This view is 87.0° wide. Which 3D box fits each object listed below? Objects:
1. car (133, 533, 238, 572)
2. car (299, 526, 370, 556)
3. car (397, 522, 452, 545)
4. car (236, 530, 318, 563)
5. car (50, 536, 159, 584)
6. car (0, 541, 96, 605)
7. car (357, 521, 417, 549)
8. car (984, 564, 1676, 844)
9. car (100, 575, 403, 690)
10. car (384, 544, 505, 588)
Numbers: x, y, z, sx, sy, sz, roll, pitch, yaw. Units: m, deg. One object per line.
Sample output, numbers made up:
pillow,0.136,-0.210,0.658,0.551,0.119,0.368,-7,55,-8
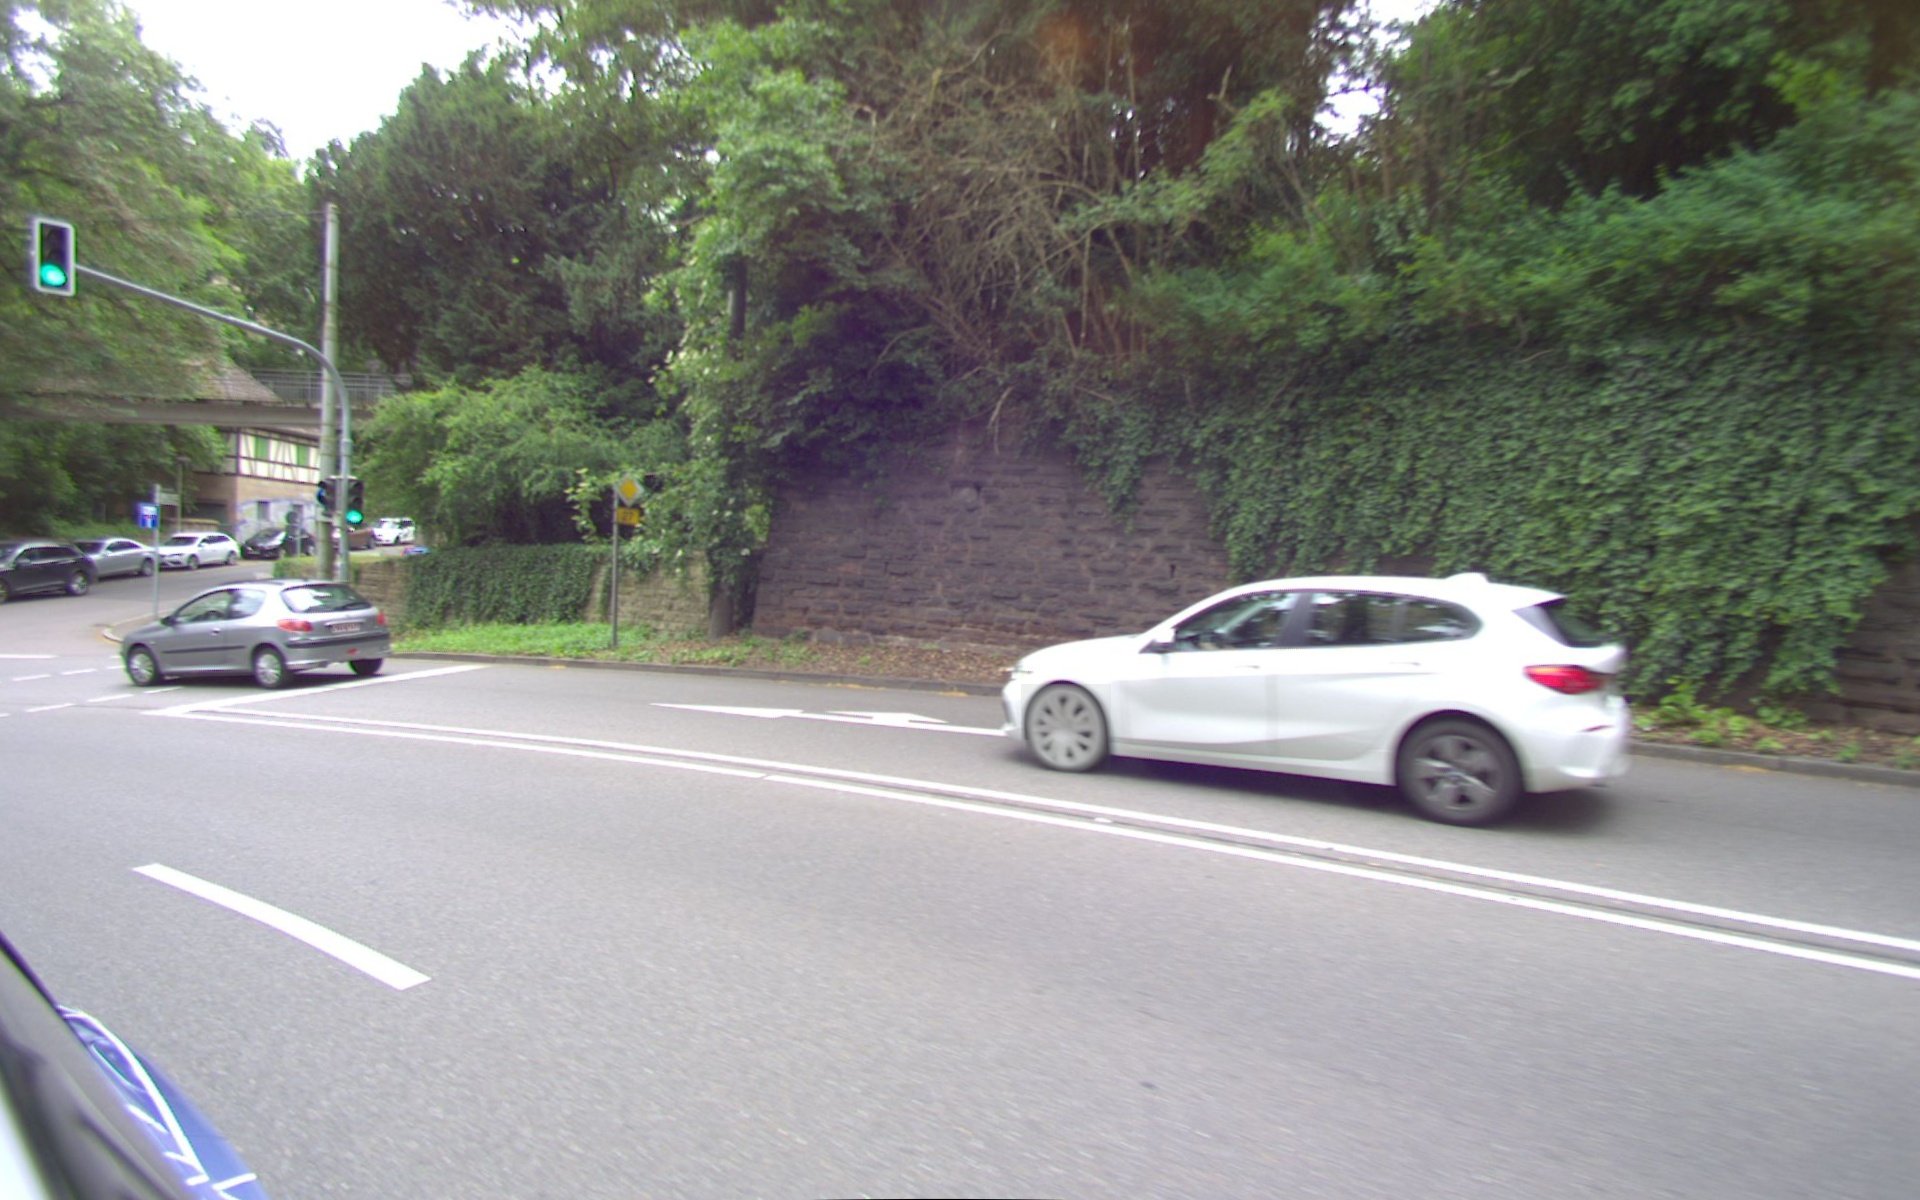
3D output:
car,-32.375,-2.015,42.458,1.604,1.338,4.030,2,6,-5
car,-32.816,-3.109,53.189,1.578,1.338,3.919,2,6,-5
car,-33.162,-4.137,62.761,1.572,1.237,3.642,2,5,-1
car,-32.463,-2.582,48.231,1.578,1.338,3.919,2,6,-5
car,-31.605,-1.511,37.502,1.482,1.457,3.272,2,6,-7
car,-28.401,-0.822,29.948,1.782,1.696,4.546,1,5,-1
car,-33.051,-3.785,58.469,1.578,1.338,3.919,2,6,-5
car,2.420,0.495,7.213,4.323,1.426,1.730,1,2,38
car,-10.019,0.406,14.355,3.724,1.428,1.602,0,3,19
car,-20.154,-1.330,39.699,3.932,1.563,1.782,0,5,-14
